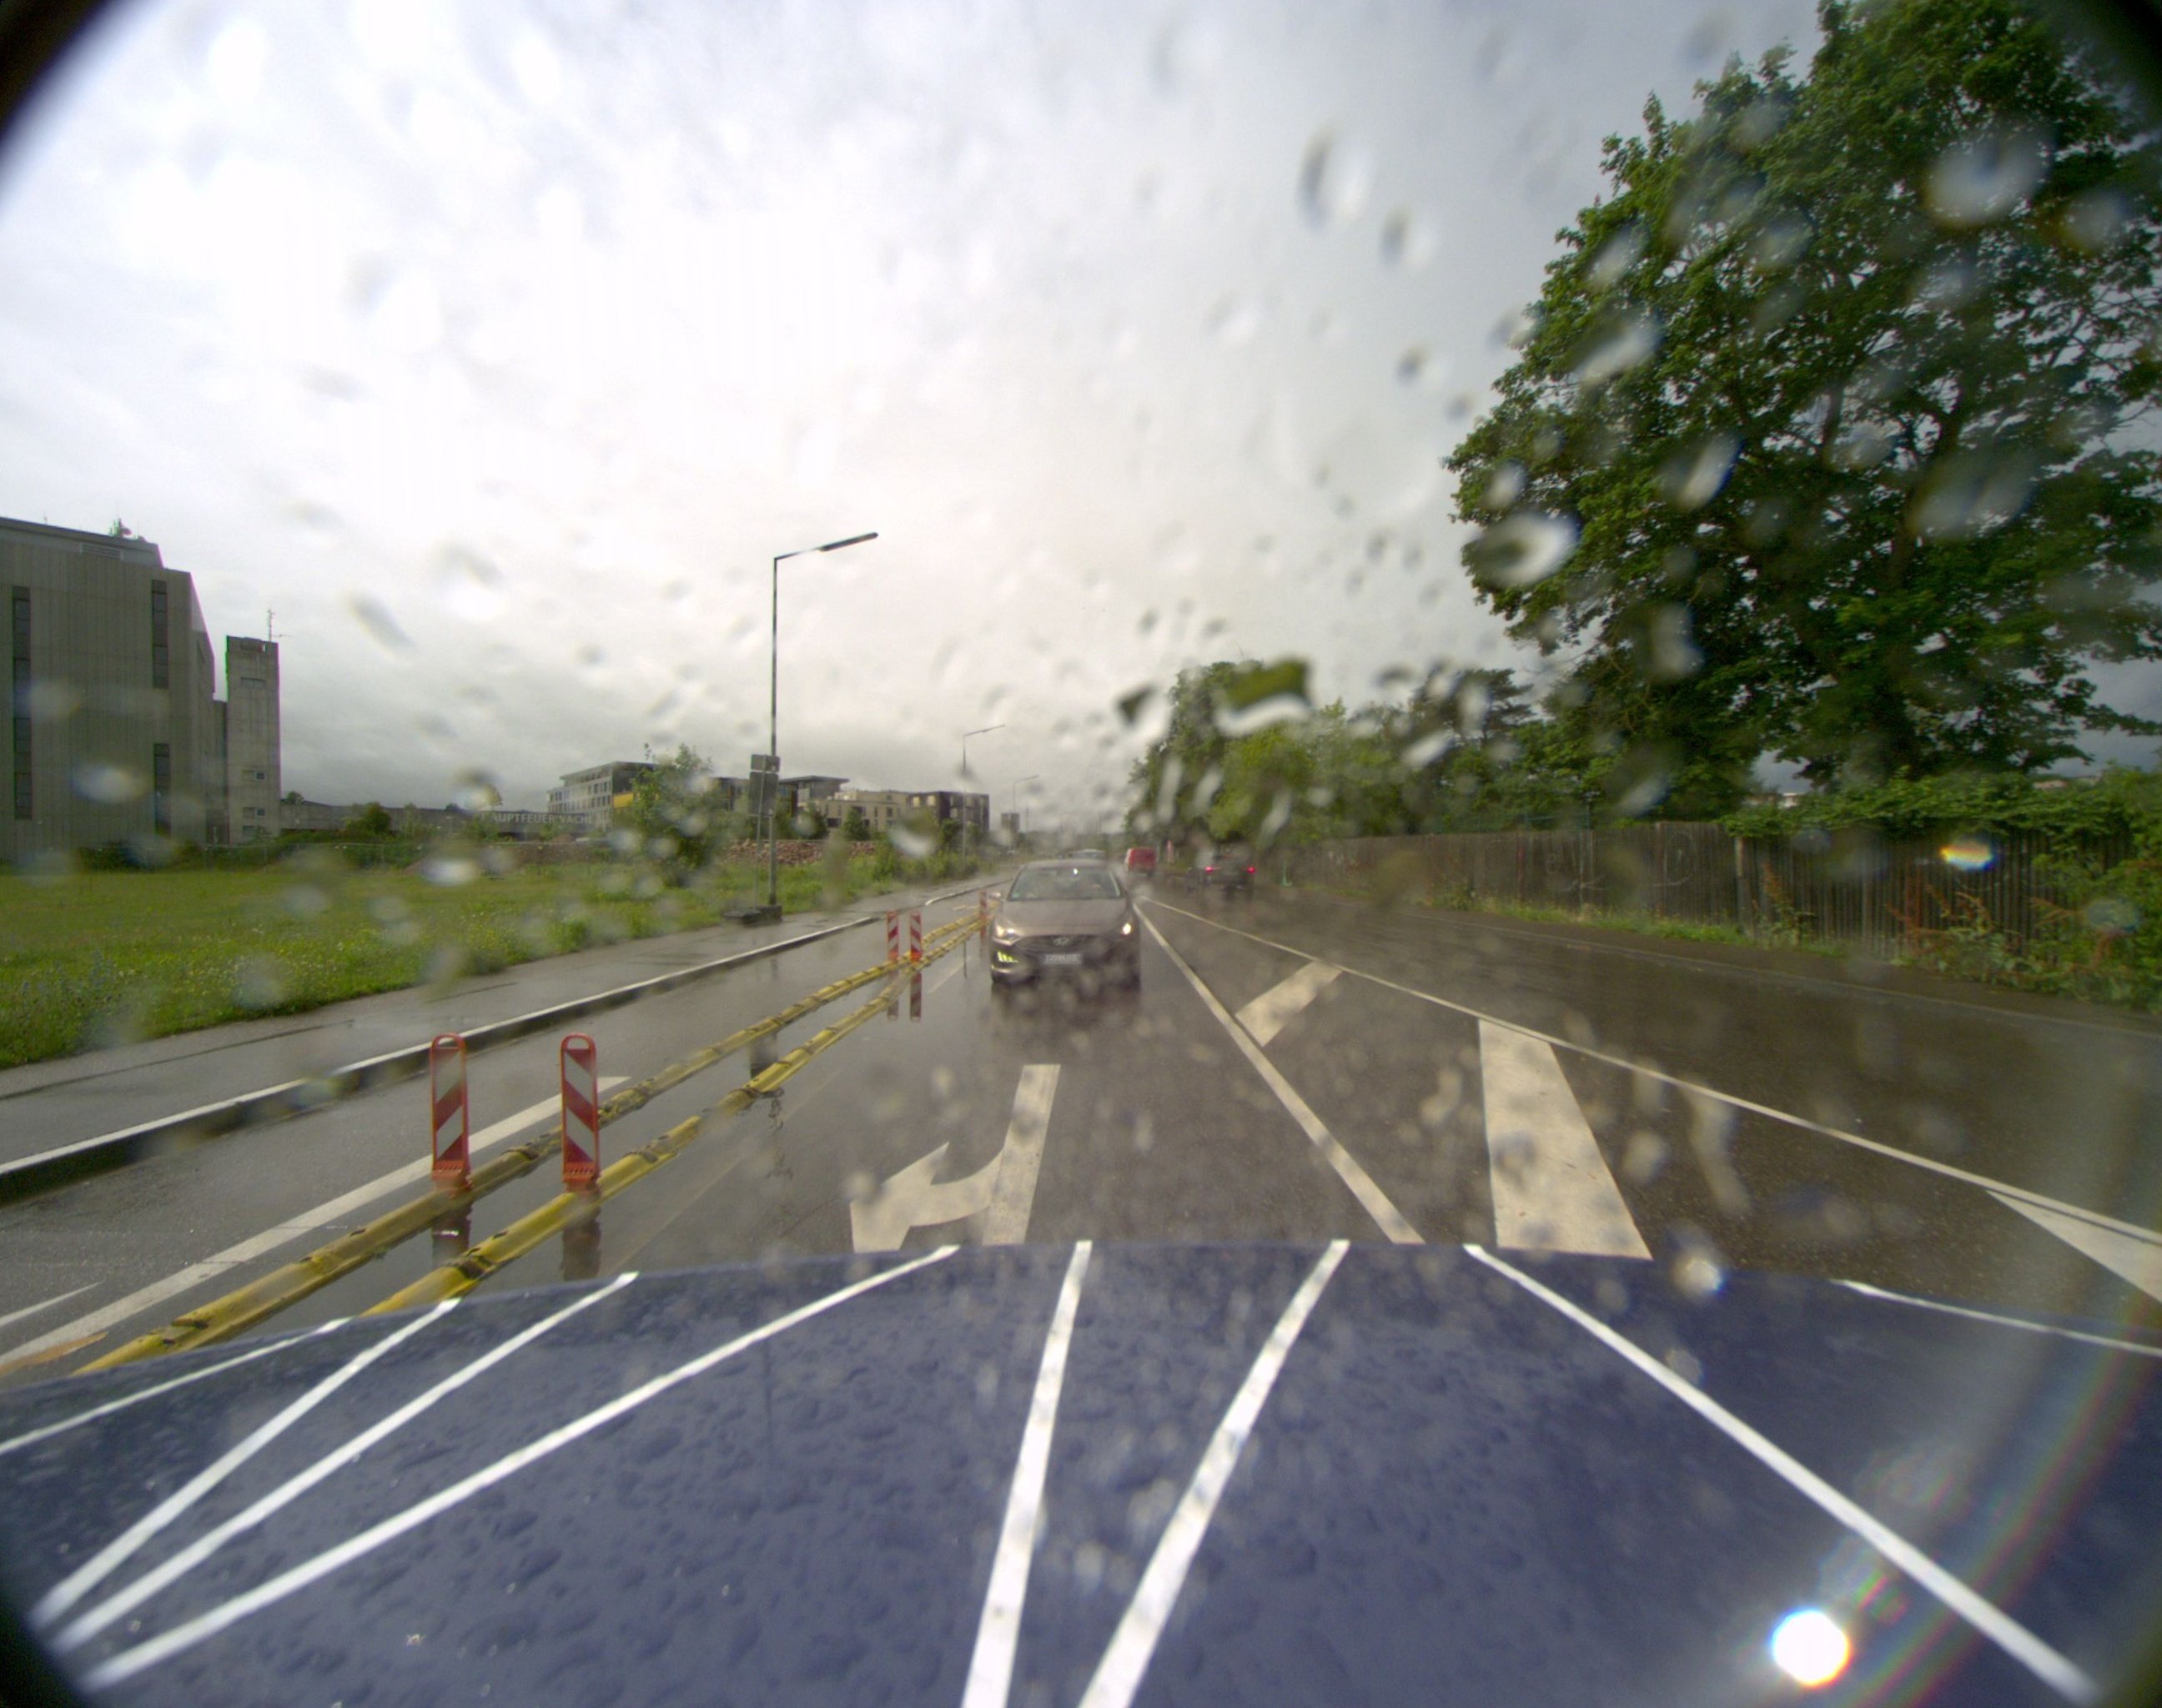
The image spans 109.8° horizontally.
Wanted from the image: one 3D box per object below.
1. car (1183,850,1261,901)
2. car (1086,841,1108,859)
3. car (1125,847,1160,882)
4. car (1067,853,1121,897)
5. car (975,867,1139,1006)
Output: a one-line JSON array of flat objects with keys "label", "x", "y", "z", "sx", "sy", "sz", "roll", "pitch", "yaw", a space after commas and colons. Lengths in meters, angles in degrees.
[{"label": "car", "x": 4.997, "y": 0.721, "z": 27.503, "sx": 1.855, "sy": 1.699, "sz": 3.999, "roll": 1, "pitch": 0, "yaw": -4}, {"label": "car", "x": 1.519, "y": -0.409, "z": 75.037, "sx": 1.874, "sy": 1.653, "sz": 4.482, "roll": -2, "pitch": 0, "yaw": -2}, {"label": "car", "x": 4.195, "y": 0.672, "z": 52.299, "sx": 1.999, "sy": 2.321, "sz": 3.999, "roll": 0, "pitch": 0, "yaw": -2}, {"label": "car", "x": 0.610, "y": 0.800, "z": 31.308, "sx": 1.873, "sy": 1.653, "sz": 4.485, "roll": -1, "pitch": 0, "yaw": 5}, {"label": "car", "x": -0.147, "y": 0.929, "z": 10.237, "sx": 1.734, "sy": 1.405, "sz": 4.129, "roll": -1, "pitch": 0, "yaw": 3}]
